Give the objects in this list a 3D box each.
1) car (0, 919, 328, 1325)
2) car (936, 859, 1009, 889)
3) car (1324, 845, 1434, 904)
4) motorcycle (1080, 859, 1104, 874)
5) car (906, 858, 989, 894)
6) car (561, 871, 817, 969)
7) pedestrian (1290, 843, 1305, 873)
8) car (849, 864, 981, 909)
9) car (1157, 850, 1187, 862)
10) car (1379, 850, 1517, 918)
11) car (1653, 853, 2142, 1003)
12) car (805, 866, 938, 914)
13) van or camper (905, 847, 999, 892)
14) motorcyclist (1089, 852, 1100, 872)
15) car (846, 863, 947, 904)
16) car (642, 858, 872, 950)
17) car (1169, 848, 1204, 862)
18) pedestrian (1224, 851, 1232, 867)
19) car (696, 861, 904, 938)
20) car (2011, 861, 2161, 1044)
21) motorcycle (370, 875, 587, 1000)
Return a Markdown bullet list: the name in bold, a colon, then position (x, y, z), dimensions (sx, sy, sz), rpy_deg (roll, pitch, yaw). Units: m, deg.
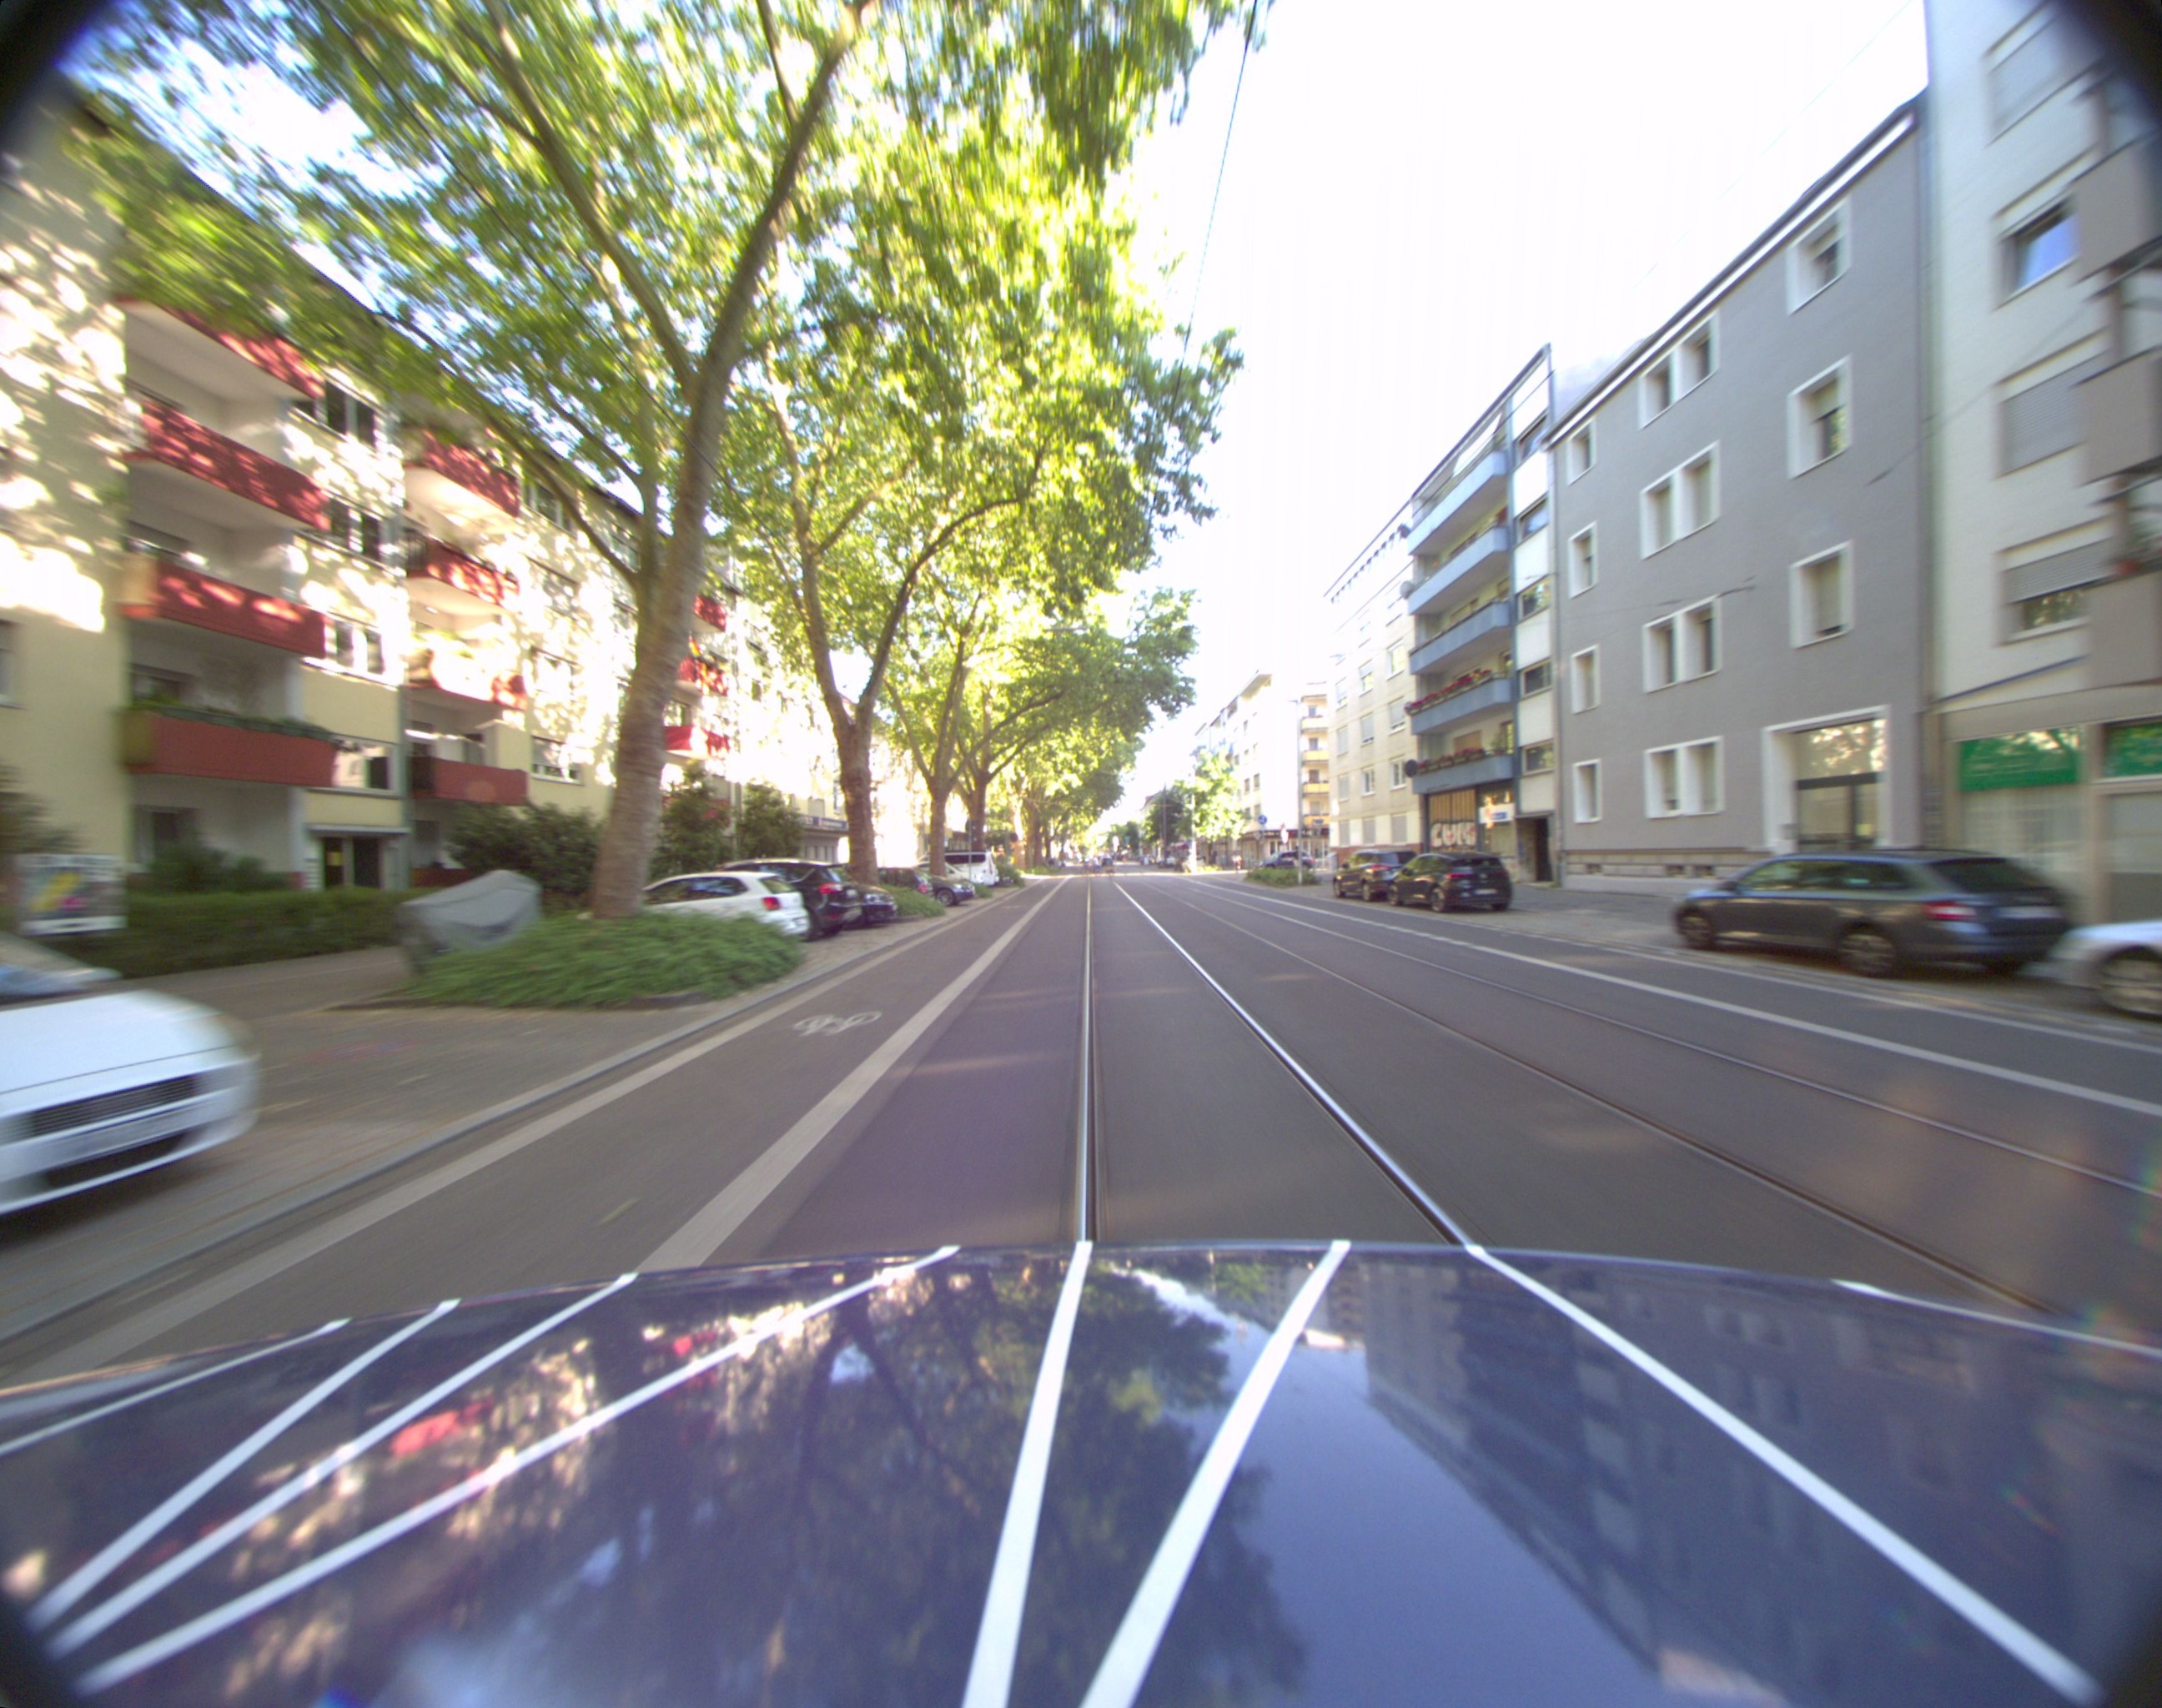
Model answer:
- **car**: position (-6.173, 1.116, 3.412), dimensions (3.963, 1.471, 1.688), rpy_deg (-1, 1, 3)
- **car**: position (-5.782, 1.062, 40.820), dimensions (3.570, 1.431, 1.727), rpy_deg (-1, 1, 4)
- **car**: position (9.894, 0.620, 25.654), dimensions (1.784, 1.728, 4.489), rpy_deg (-3, 0, -1)
- **motorcycle**: position (0.899, 1.013, 60.791), dimensions (1.832, 1.112, 0.590), rpy_deg (-1, 1, -7)
- **car**: position (-6.190, 1.009, 35.449), dimensions (3.572, 1.522, 1.677), rpy_deg (-1, 1, -1)
- **car**: position (-6.775, 1.115, 13.425), dimensions (3.618, 1.486, 1.660), rpy_deg (-1, 0, -1)
- **pedestrian**: position (14.138, 0.242, 49.526), dimensions (0.773, 1.888, 0.799), rpy_deg (-3, 1, 8)
- **car**: position (-5.796, 1.120, 26.955), dimensions (4.206, 1.473, 1.911), rpy_deg (0, 1, 2)
- **car**: position (12.384, 0.315, 103.178), dimensions (3.953, 1.515, 1.587), rpy_deg (-1, 0, 5)
- **car**: position (9.824, 0.723, 20.717), dimensions (1.660, 1.591, 4.202), rpy_deg (-3, 0, 0)
- **car**: position (9.957, 0.761, 9.895), dimensions (1.798, 1.482, 4.240), rpy_deg (-1, 0, 0)
- **car**: position (-6.681, 1.130, 24.505), dimensions (3.836, 1.435, 1.699), rpy_deg (-1, 1, -3)
- **van or camper**: position (-6.375, 0.747, 38.034), dimensions (4.388, 2.097, 1.838), rpy_deg (-1, 1, -3)
- **motorcyclist**: position (1.088, 0.634, 60.807), dimensions (0.756, 1.609, 0.588), rpy_deg (-1, 1, -6)
- **car**: position (-7.089, 1.128, 29.364), dimensions (3.482, 1.473, 1.643), rpy_deg (0, 1, 1)
- **car**: position (-6.661, 1.000, 15.923), dimensions (4.003, 1.734, 1.805), rpy_deg (-1, 0, 1)
- **car**: position (12.383, 0.072, 89.365), dimensions (3.953, 1.515, 1.587), rpy_deg (-1, 0, 5)
- **pedestrian**: position (13.791, 0.486, 71.302), dimensions (0.596, 1.496, 0.655), rpy_deg (-3, 1, 1)
- **car**: position (-6.626, 1.044, 18.254), dimensions (4.302, 1.643, 1.743), rpy_deg (-1, 1, -2)
- **car**: position (9.787, 0.828, 4.969), dimensions (1.693, 1.482, 4.728), rpy_deg (-1, 0, 2)
- **motorcycle**: position (-8.523, 1.093, 11.002), dimensions (0.842, 1.470, 2.818), rpy_deg (-1, 0, 1)
